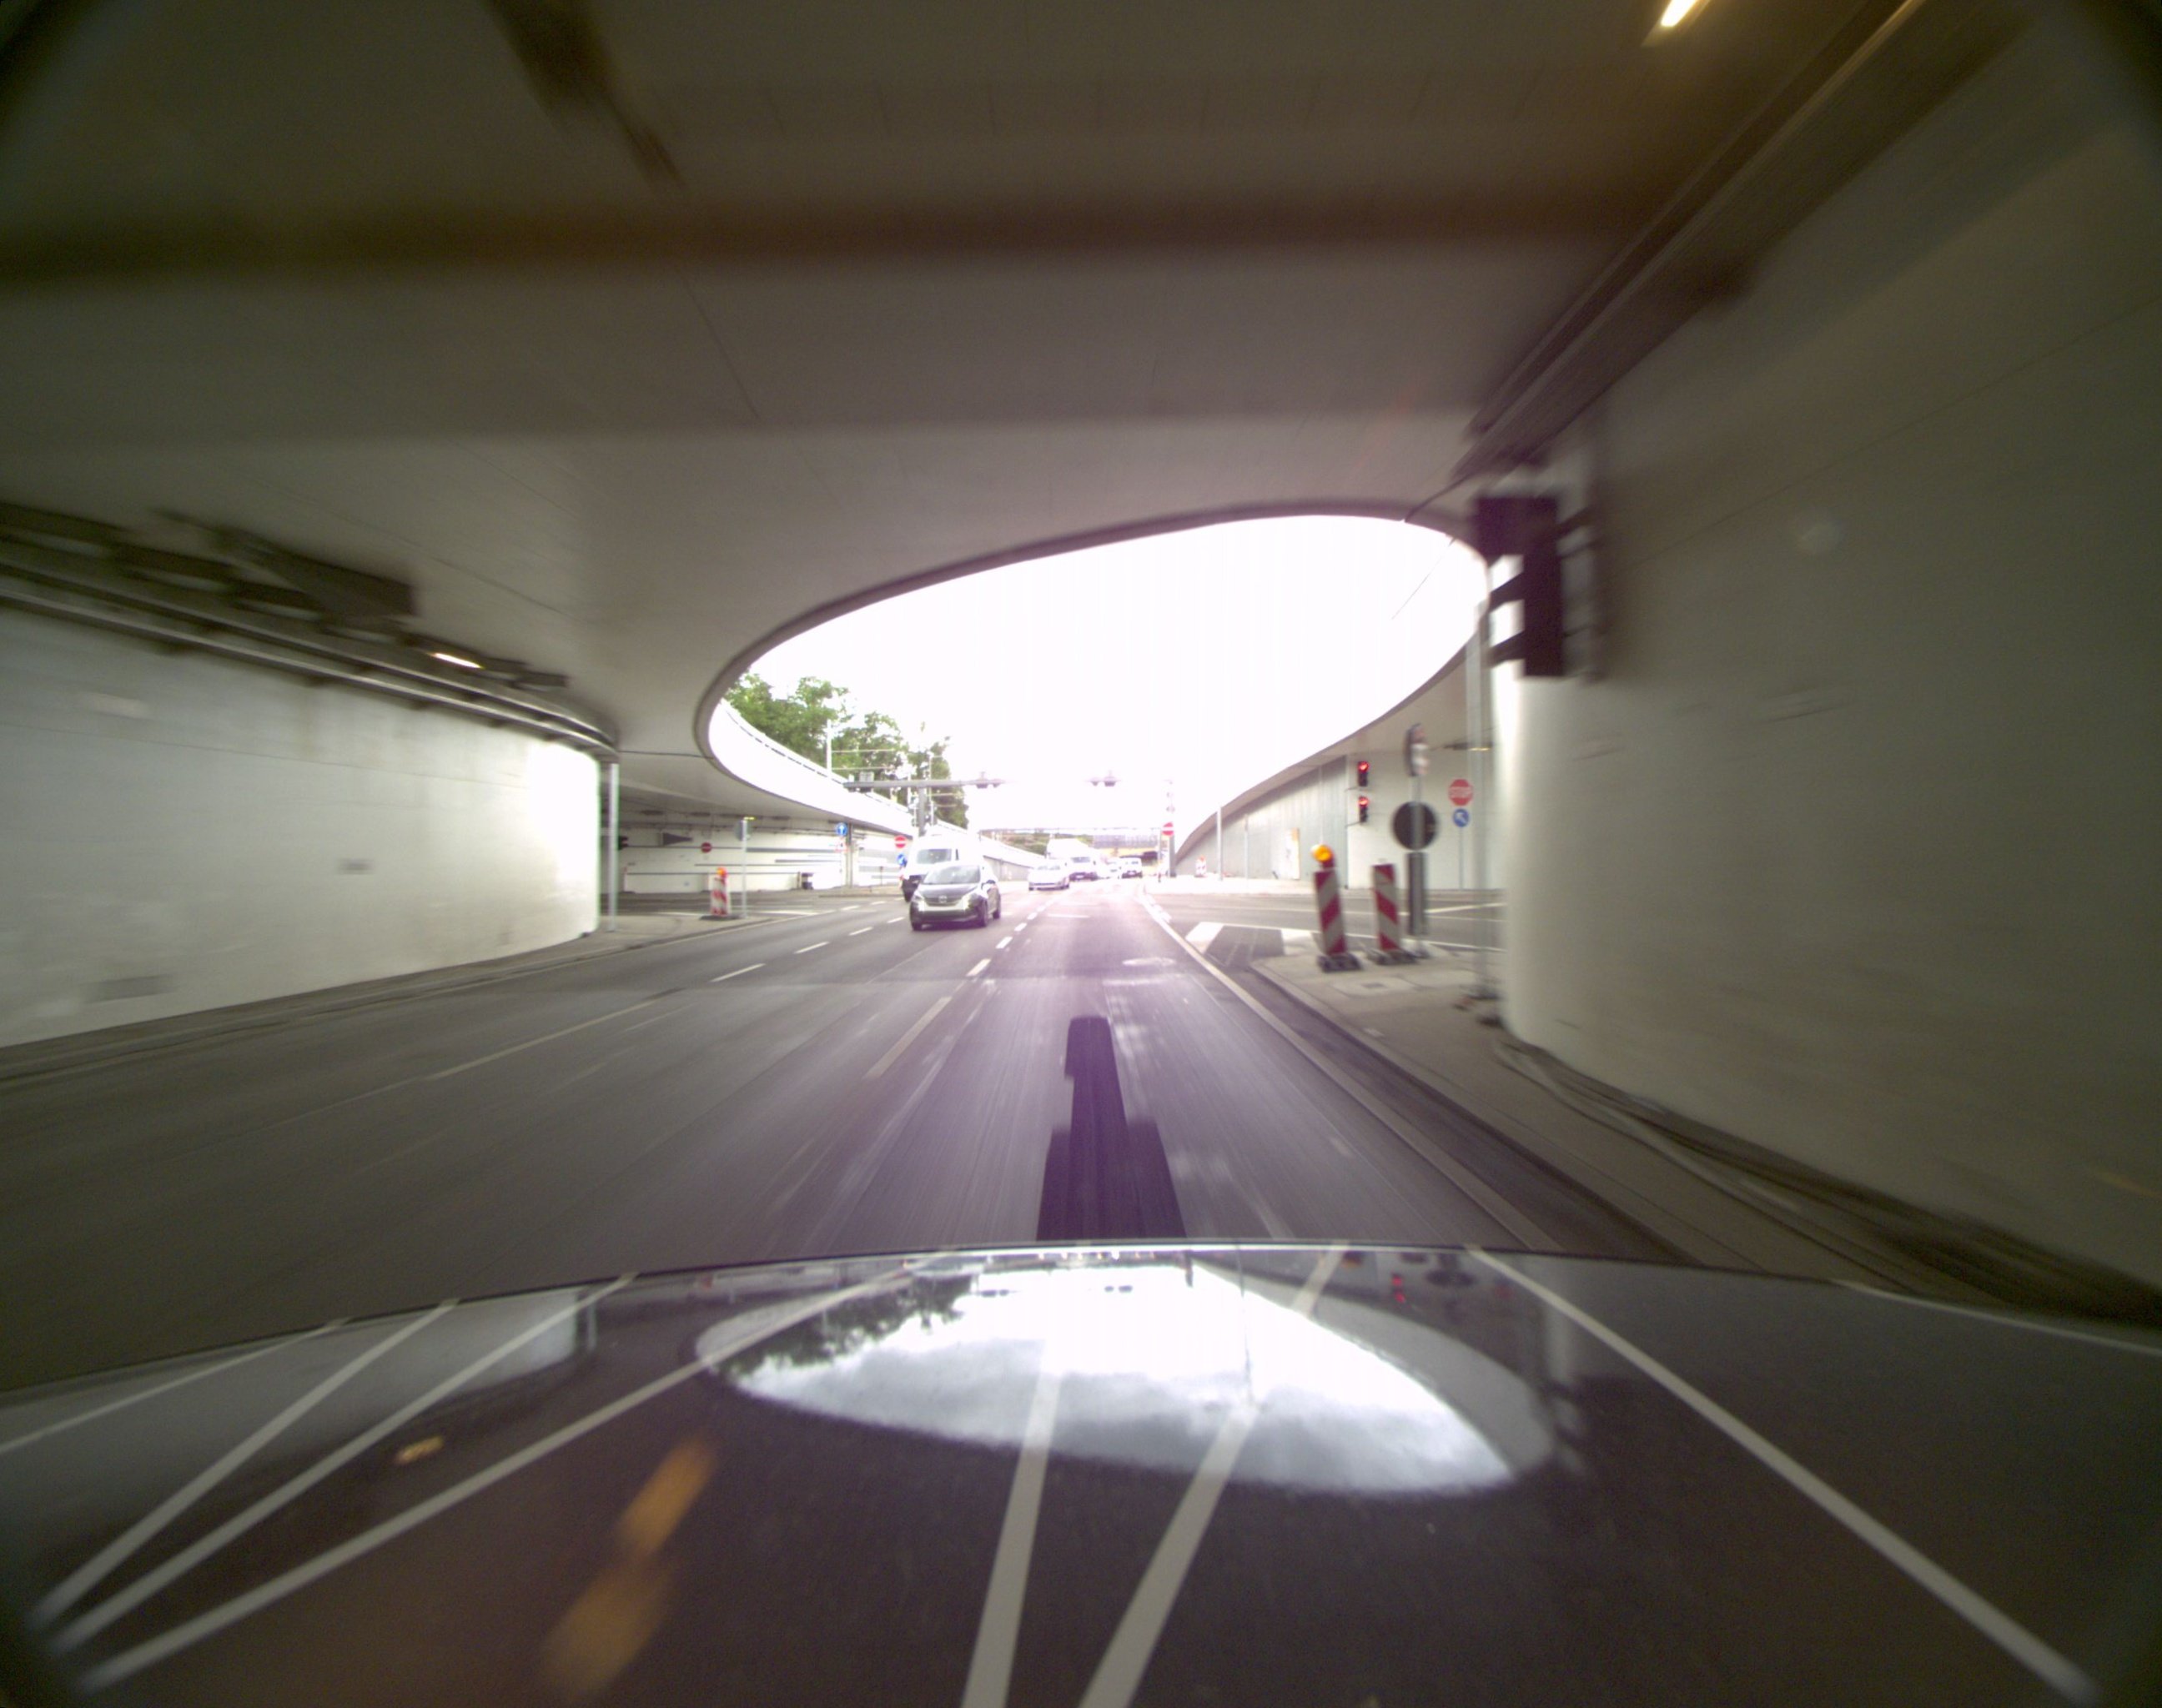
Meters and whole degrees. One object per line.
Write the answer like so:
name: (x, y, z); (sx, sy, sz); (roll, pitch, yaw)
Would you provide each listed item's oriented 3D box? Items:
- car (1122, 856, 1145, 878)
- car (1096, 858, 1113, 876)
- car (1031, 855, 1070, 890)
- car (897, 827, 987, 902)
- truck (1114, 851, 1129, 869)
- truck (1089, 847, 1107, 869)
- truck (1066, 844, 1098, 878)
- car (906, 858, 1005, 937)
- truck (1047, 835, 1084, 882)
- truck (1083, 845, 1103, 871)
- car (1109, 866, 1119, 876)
car: (5.010, 1.247, 72.807); (1.935, 1.918, 4.196); (-2, 1, 1)
car: (2.304, 1.294, 75.383); (1.639, 1.661, 3.716); (-2, 1, 1)
car: (-1.496, 0.943, 38.219); (1.764, 1.551, 3.819); (-3, -2, -1)
car: (-5.728, 0.431, 32.432); (2.106, 2.830, 6.863); (-1, 0, 4)
truck: (6.482, 0.982, 121.502); (2.138, 2.712, 5.671); (-2, 1, 1)
truck: (2.478, 0.594, 113.501); (2.494, 3.120, 6.376); (-2, 1, 1)
truck: (0.157, 0.494, 60.114); (2.073, 2.525, 6.024); (-2, 1, 4)
car: (-2.857, 0.945, 18.091); (1.639, 1.552, 3.716); (-2, 1, 1)
truck: (-1.499, 0.362, 78.708); (2.886, 4.446, 10.455); (-2, 1, 3)
truck: (1.606, 0.444, 103.936); (2.494, 3.369, 6.376); (-2, 1, 1)
car: (6.100, 3.155, 140.417); (1.639, 1.788, 3.716); (-2, 1, 1)
